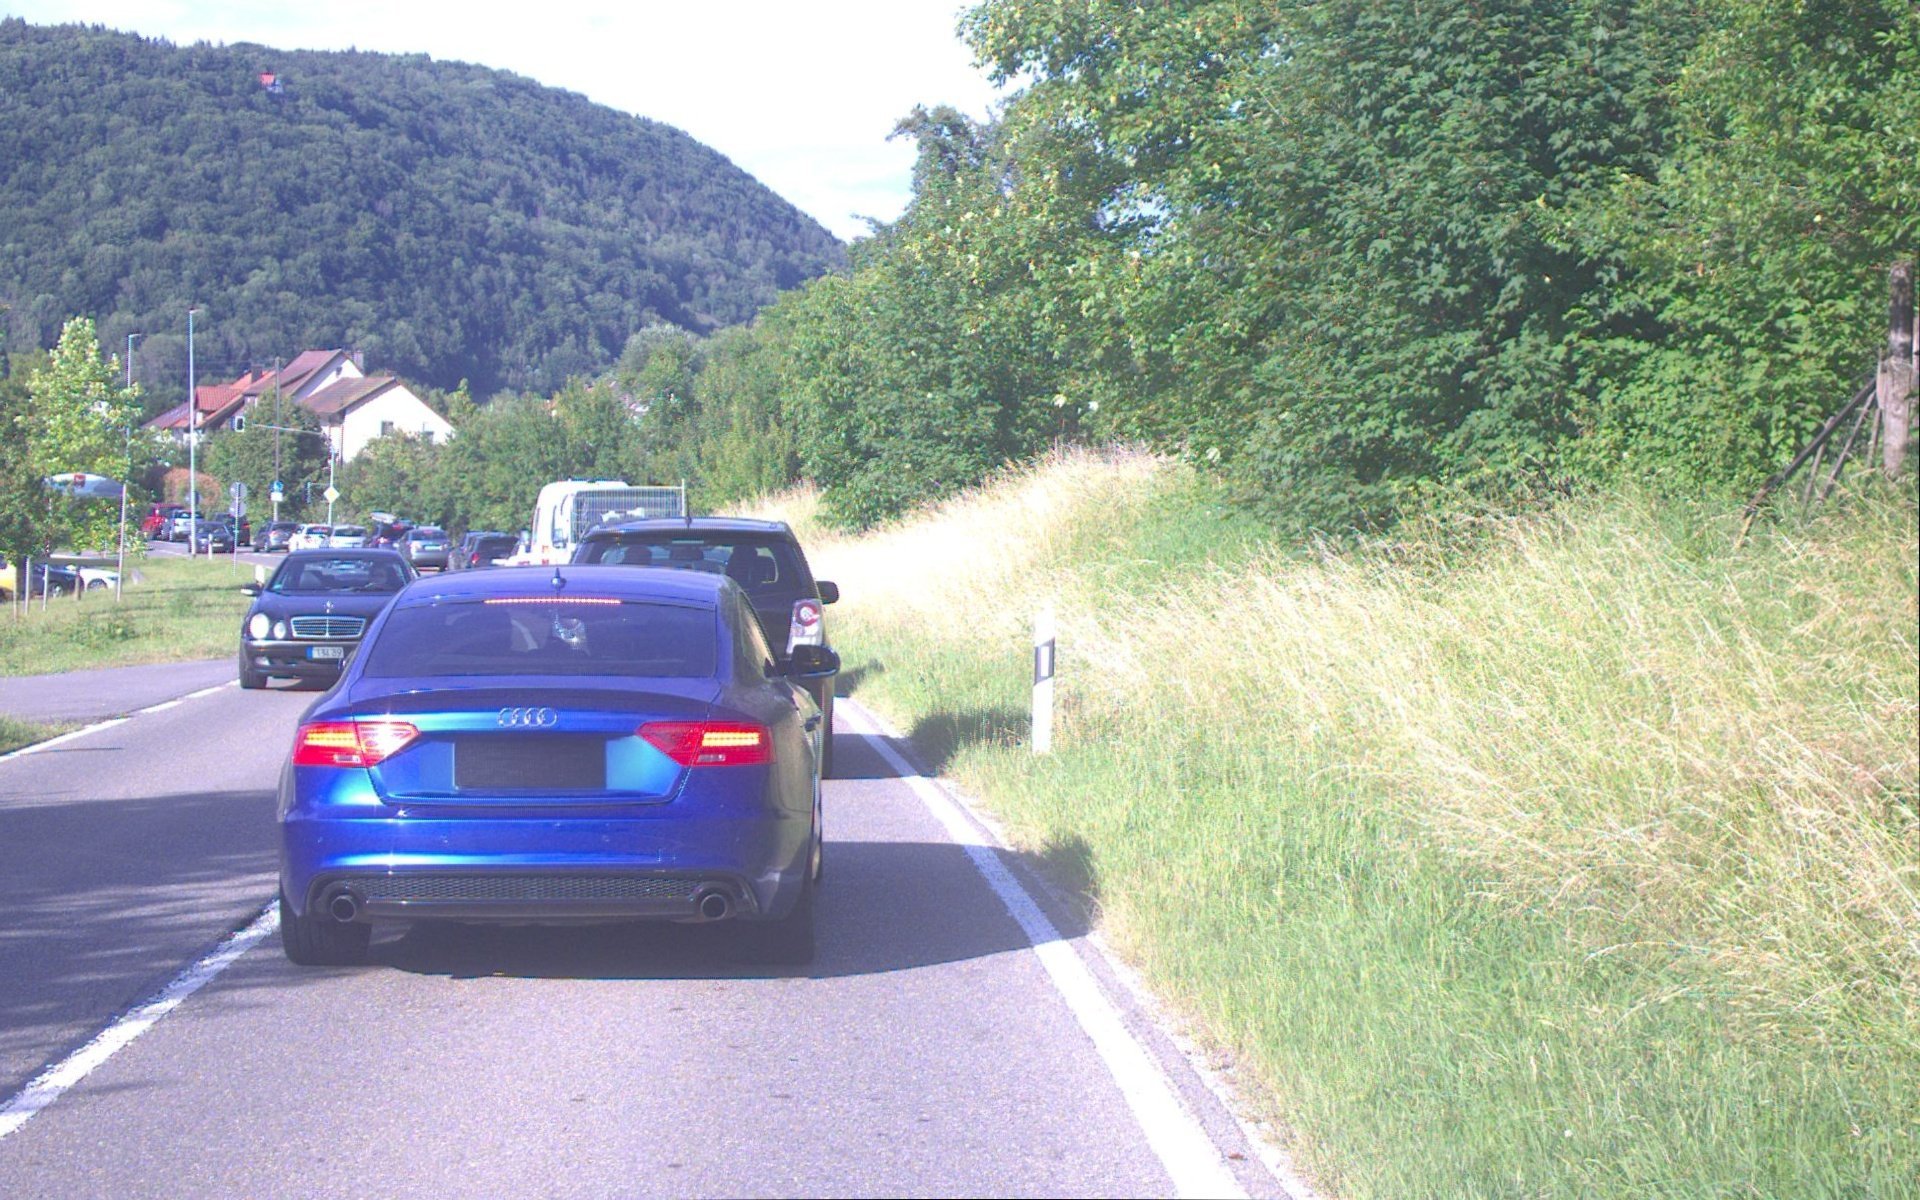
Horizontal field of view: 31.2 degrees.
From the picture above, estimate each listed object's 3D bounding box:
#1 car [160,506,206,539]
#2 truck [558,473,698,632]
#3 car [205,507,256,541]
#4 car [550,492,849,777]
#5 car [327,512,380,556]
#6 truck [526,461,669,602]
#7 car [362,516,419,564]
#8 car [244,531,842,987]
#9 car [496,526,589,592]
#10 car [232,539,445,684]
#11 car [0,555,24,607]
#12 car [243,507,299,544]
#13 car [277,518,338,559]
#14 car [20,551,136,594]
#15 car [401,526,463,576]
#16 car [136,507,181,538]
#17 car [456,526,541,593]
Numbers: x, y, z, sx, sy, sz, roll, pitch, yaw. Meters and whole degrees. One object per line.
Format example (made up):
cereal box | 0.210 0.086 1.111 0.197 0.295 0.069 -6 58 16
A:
car | -42.041 -4.172 185.972 1.845 1.706 4.001 0 1 -22
truck | -5.730 -0.809 58.726 2.229 2.561 6.105 0 1 -7
car | -36.829 -3.828 173.565 1.845 1.706 4.001 0 1 -22
car | -1.640 0.181 22.269 1.754 1.675 3.847 1 1 -3
car | -24.074 -2.610 136.375 1.845 1.706 4.001 0 1 -13
truck | -7.070 -1.298 66.422 2.229 2.561 6.709 0 1 -10
car | -21.020 -2.215 126.864 1.845 1.706 4.001 0 1 -13
car | -1.382 0.478 12.780 1.754 1.425 3.846 1 1 0
car | -9.714 -0.952 79.815 1.845 1.477 4.001 0 1 -11
car | -6.139 0.080 34.320 1.594 1.349 4.204 1 1 -4
car | -33.259 -0.655 114.013 3.986 1.705 2.000 0 1 -6
car | -31.989 -3.440 159.562 1.845 1.706 4.001 0 1 -22
car | -27.988 -2.632 147.456 1.845 1.706 4.001 0 1 -22
car | -32.981 -1.030 128.572 3.986 1.573 1.753 0 1 -6
car | -18.287 -1.696 118.905 1.845 1.706 4.001 0 1 -13
car | -45.012 -4.329 193.011 1.845 1.706 4.001 0 1 -22
car | -12.082 -1.056 89.875 1.845 1.706 4.001 0 1 -12
